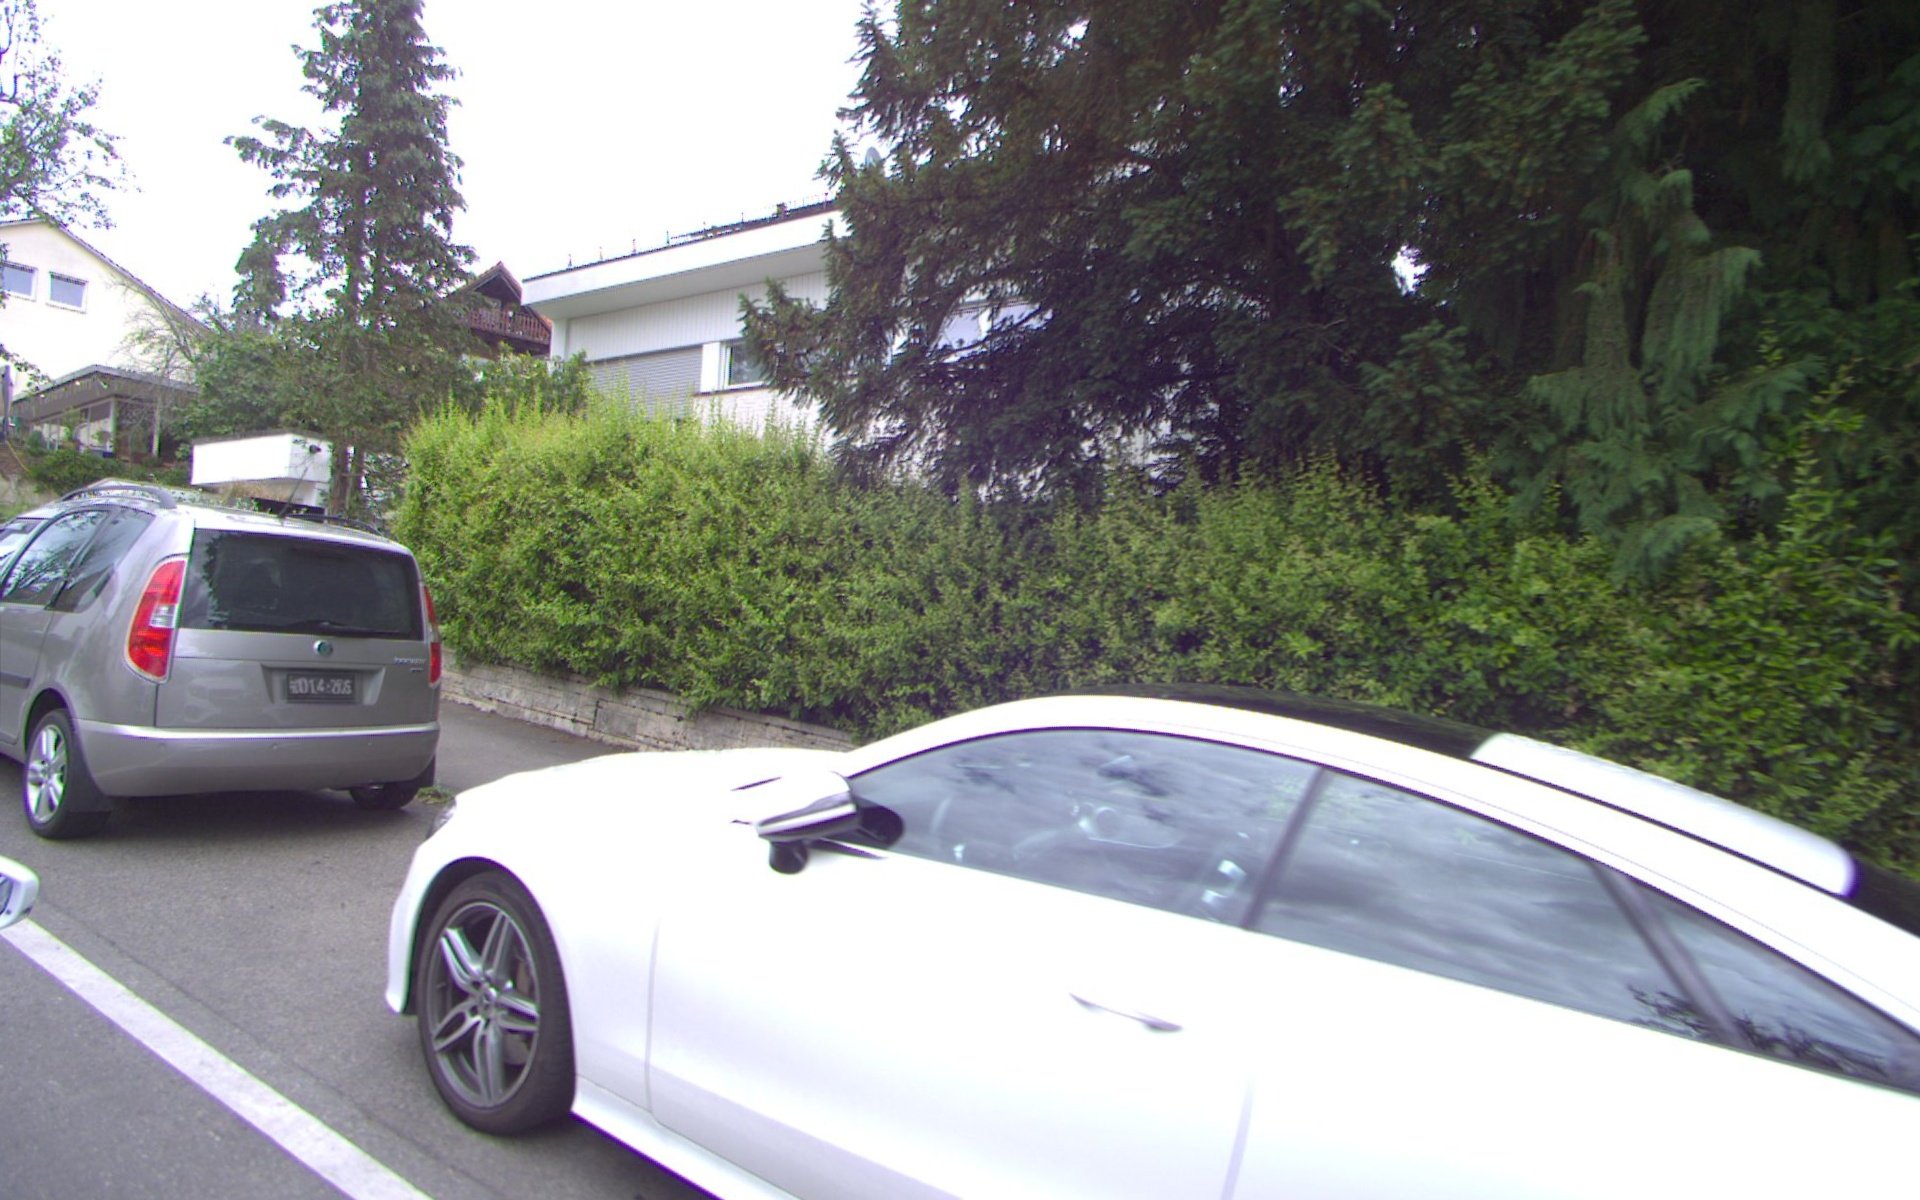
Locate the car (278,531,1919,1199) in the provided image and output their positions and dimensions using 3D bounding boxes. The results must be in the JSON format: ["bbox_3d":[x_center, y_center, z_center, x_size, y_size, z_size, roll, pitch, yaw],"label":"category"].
[{"bbox_3d":[0.487,0.828,2.712,4.922,1.510,1.995,7,1,32],"label":"car"}]

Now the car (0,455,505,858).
[{"bbox_3d":[-4.717,0.151,5.907,3.863,1.651,1.720,6,-2,32],"label":"car"}]
